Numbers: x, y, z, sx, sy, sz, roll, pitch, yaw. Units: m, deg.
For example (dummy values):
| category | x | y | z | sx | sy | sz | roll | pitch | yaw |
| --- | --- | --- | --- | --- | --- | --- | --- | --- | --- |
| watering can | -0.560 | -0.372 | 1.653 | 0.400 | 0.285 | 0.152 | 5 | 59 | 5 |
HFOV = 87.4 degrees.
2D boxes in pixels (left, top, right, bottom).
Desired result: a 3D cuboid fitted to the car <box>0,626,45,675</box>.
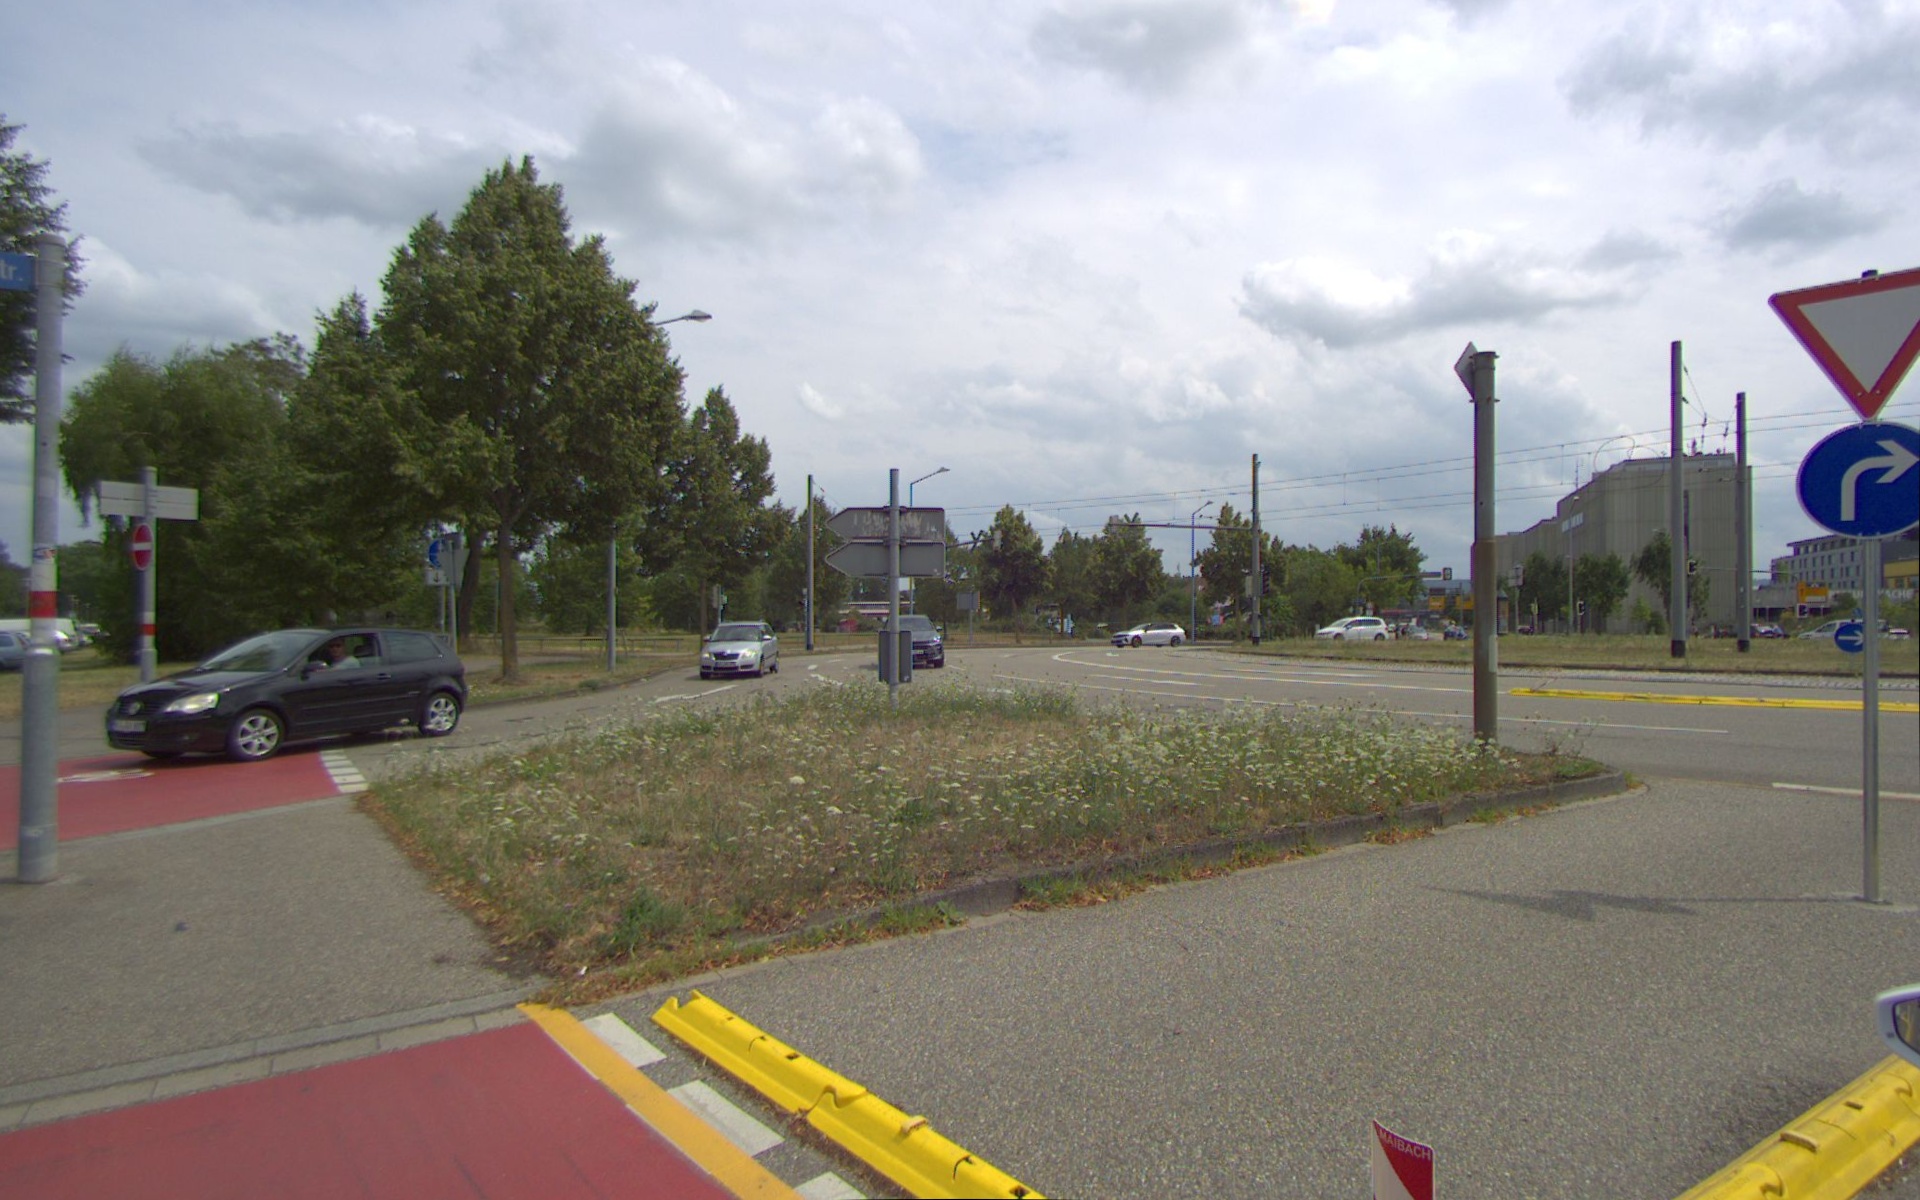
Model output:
| category | x | y | z | sx | sy | sz | roll | pitch | yaw |
| --- | --- | --- | --- | --- | --- | --- | --- | --- | --- |
| car | -31.885 | 1.646 | 31.480 | 4.671 | 1.491 | 1.811 | -2 | 1 | -42 |

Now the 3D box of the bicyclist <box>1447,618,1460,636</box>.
| category | x | y | z | sx | sy | sz | roll | pitch | yaw |
| --- | --- | --- | --- | --- | --- | --- | --- | --- | --- |
| bicyclist | 39.394 | 2.159 | 80.231 | 0.660 | 1.428 | 0.864 | 0 | -1 | 4 |

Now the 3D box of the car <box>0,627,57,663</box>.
| category | x | y | z | sx | sy | sz | roll | pitch | yaw |
| --- | --- | --- | --- | --- | --- | --- | --- | --- | --- |
| car | -41.421 | 1.904 | 42.700 | 4.350 | 1.491 | 1.812 | 1 | -1 | -39 |

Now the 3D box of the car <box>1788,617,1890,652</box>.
| category | x | y | z | sx | sy | sz | roll | pitch | yaw |
| --- | --- | --- | --- | --- | --- | --- | --- | --- | --- |
| car | 53.743 | 2.081 | 61.525 | 1.967 | 2.040 | 4.347 | 2 | -1 | -16 |

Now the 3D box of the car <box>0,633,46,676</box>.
| category | x | y | z | sx | sy | sz | roll | pitch | yaw |
| --- | --- | --- | --- | --- | --- | --- | --- | --- | --- |
| car | -35.406 | 1.926 | 35.194 | 4.847 | 1.491 | 1.812 | 1 | -1 | -39 |

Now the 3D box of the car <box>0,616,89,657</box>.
| category | x | y | z | sx | sy | sz | roll | pitch | yaw |
| --- | --- | --- | --- | --- | --- | --- | --- | --- | --- |
| car | -49.362 | 1.896 | 52.676 | 5.527 | 2.083 | 2.175 | 1 | -1 | -41 |

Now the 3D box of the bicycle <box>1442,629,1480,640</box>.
| category | x | y | z | sx | sy | sz | roll | pitch | yaw |
| --- | --- | --- | --- | --- | --- | --- | --- | --- | --- |
| bicycle | 39.970 | 2.746 | 80.152 | 2.605 | 0.866 | 0.864 | 0 | -1 | 4 |

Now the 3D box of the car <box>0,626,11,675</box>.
| category | x | y | z | sx | sy | sz | roll | pitch | yaw |
| --- | --- | --- | --- | --- | --- | --- | --- | --- | --- |
| car | -30.100 | 1.563 | 29.703 | 1.464 | 1.442 | 2.898 | -2 | 0 | 44 |

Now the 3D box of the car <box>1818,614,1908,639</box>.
| category | x | y | z | sx | sy | sz | roll | pitch | yaw |
| --- | --- | --- | --- | --- | --- | --- | --- | --- | --- |
| car | 57.018 | 1.634 | 63.513 | 1.800 | 1.483 | 3.995 | 2 | -1 | -8 |

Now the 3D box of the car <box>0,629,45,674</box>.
| category | x | y | z | sx | sy | sz | roll | pitch | yaw |
| --- | --- | --- | --- | --- | --- | --- | --- | --- | --- |
| car | -33.827 | 1.716 | 33.421 | 4.847 | 1.491 | 1.812 | 1 | -1 | -39 |

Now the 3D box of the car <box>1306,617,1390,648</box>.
| category | x | y | z | sx | sy | sz | roll | pitch | yaw |
| --- | --- | --- | --- | --- | --- | --- | --- | --- | --- |
| car | 23.235 | 1.929 | 60.204 | 4.279 | 1.687 | 1.934 | -1 | -1 | -12 |

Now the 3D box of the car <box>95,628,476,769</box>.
| category | x | y | z | sx | sy | sz | roll | pitch | yaw |
| --- | --- | --- | --- | --- | --- | --- | --- | --- | --- |
| car | -7.914 | 1.080 | 12.234 | 1.599 | 1.433 | 3.724 | -2 | -2 | 15 |

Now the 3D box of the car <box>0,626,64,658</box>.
| category | x | y | z | sx | sy | sz | roll | pitch | yaw |
| --- | --- | --- | --- | --- | --- | --- | --- | --- | --- |
| car | -44.642 | 1.946 | 46.720 | 4.275 | 1.491 | 1.812 | 1 | -1 | -39 |

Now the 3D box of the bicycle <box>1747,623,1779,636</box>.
| category | x | y | z | sx | sy | sz | roll | pitch | yaw |
| --- | --- | --- | --- | --- | --- | --- | --- | --- | --- |
| bicycle | 57.958 | 2.123 | 72.515 | 1.807 | 0.889 | 0.528 | -1 | -1 | 40 |

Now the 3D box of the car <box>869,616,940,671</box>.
| category | x | y | z | sx | sy | sz | roll | pitch | yaw |
| --- | --- | --- | --- | --- | --- | --- | --- | --- | --- |
| car | -1.736 | 1.302 | 31.286 | 2.025 | 1.572 | 4.473 | 0 | -1 | -4 |

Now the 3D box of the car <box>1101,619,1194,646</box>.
| category | x | y | z | sx | sy | sz | roll | pitch | yaw |
| --- | --- | --- | --- | --- | --- | --- | --- | --- | --- |
| car | 10.836 | 1.825 | 57.990 | 5.114 | 1.502 | 1.987 | 1 | -1 | -26 |

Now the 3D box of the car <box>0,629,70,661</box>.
| category | x | y | z | sx | sy | sz | roll | pitch | yaw |
| --- | --- | --- | --- | --- | --- | --- | --- | --- | --- |
| car | -46.196 | 2.192 | 48.803 | 4.275 | 1.491 | 1.812 | 1 | -1 | -39 |

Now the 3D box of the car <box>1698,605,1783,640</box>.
| category | x | y | z | sx | sy | sz | roll | pitch | yaw |
| --- | --- | --- | --- | --- | --- | --- | --- | --- | --- |
| car | 48.162 | 1.403 | 62.105 | 1.962 | 2.040 | 3.998 | 2 | -1 | -4 |

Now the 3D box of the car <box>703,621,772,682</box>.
| category | x | y | z | sx | sy | sz | roll | pitch | yaw |
| --- | --- | --- | --- | --- | --- | --- | --- | --- | --- |
| car | -6.071 | 1.356 | 27.748 | 1.599 | 1.539 | 4.212 | 0 | -1 | -9 |
